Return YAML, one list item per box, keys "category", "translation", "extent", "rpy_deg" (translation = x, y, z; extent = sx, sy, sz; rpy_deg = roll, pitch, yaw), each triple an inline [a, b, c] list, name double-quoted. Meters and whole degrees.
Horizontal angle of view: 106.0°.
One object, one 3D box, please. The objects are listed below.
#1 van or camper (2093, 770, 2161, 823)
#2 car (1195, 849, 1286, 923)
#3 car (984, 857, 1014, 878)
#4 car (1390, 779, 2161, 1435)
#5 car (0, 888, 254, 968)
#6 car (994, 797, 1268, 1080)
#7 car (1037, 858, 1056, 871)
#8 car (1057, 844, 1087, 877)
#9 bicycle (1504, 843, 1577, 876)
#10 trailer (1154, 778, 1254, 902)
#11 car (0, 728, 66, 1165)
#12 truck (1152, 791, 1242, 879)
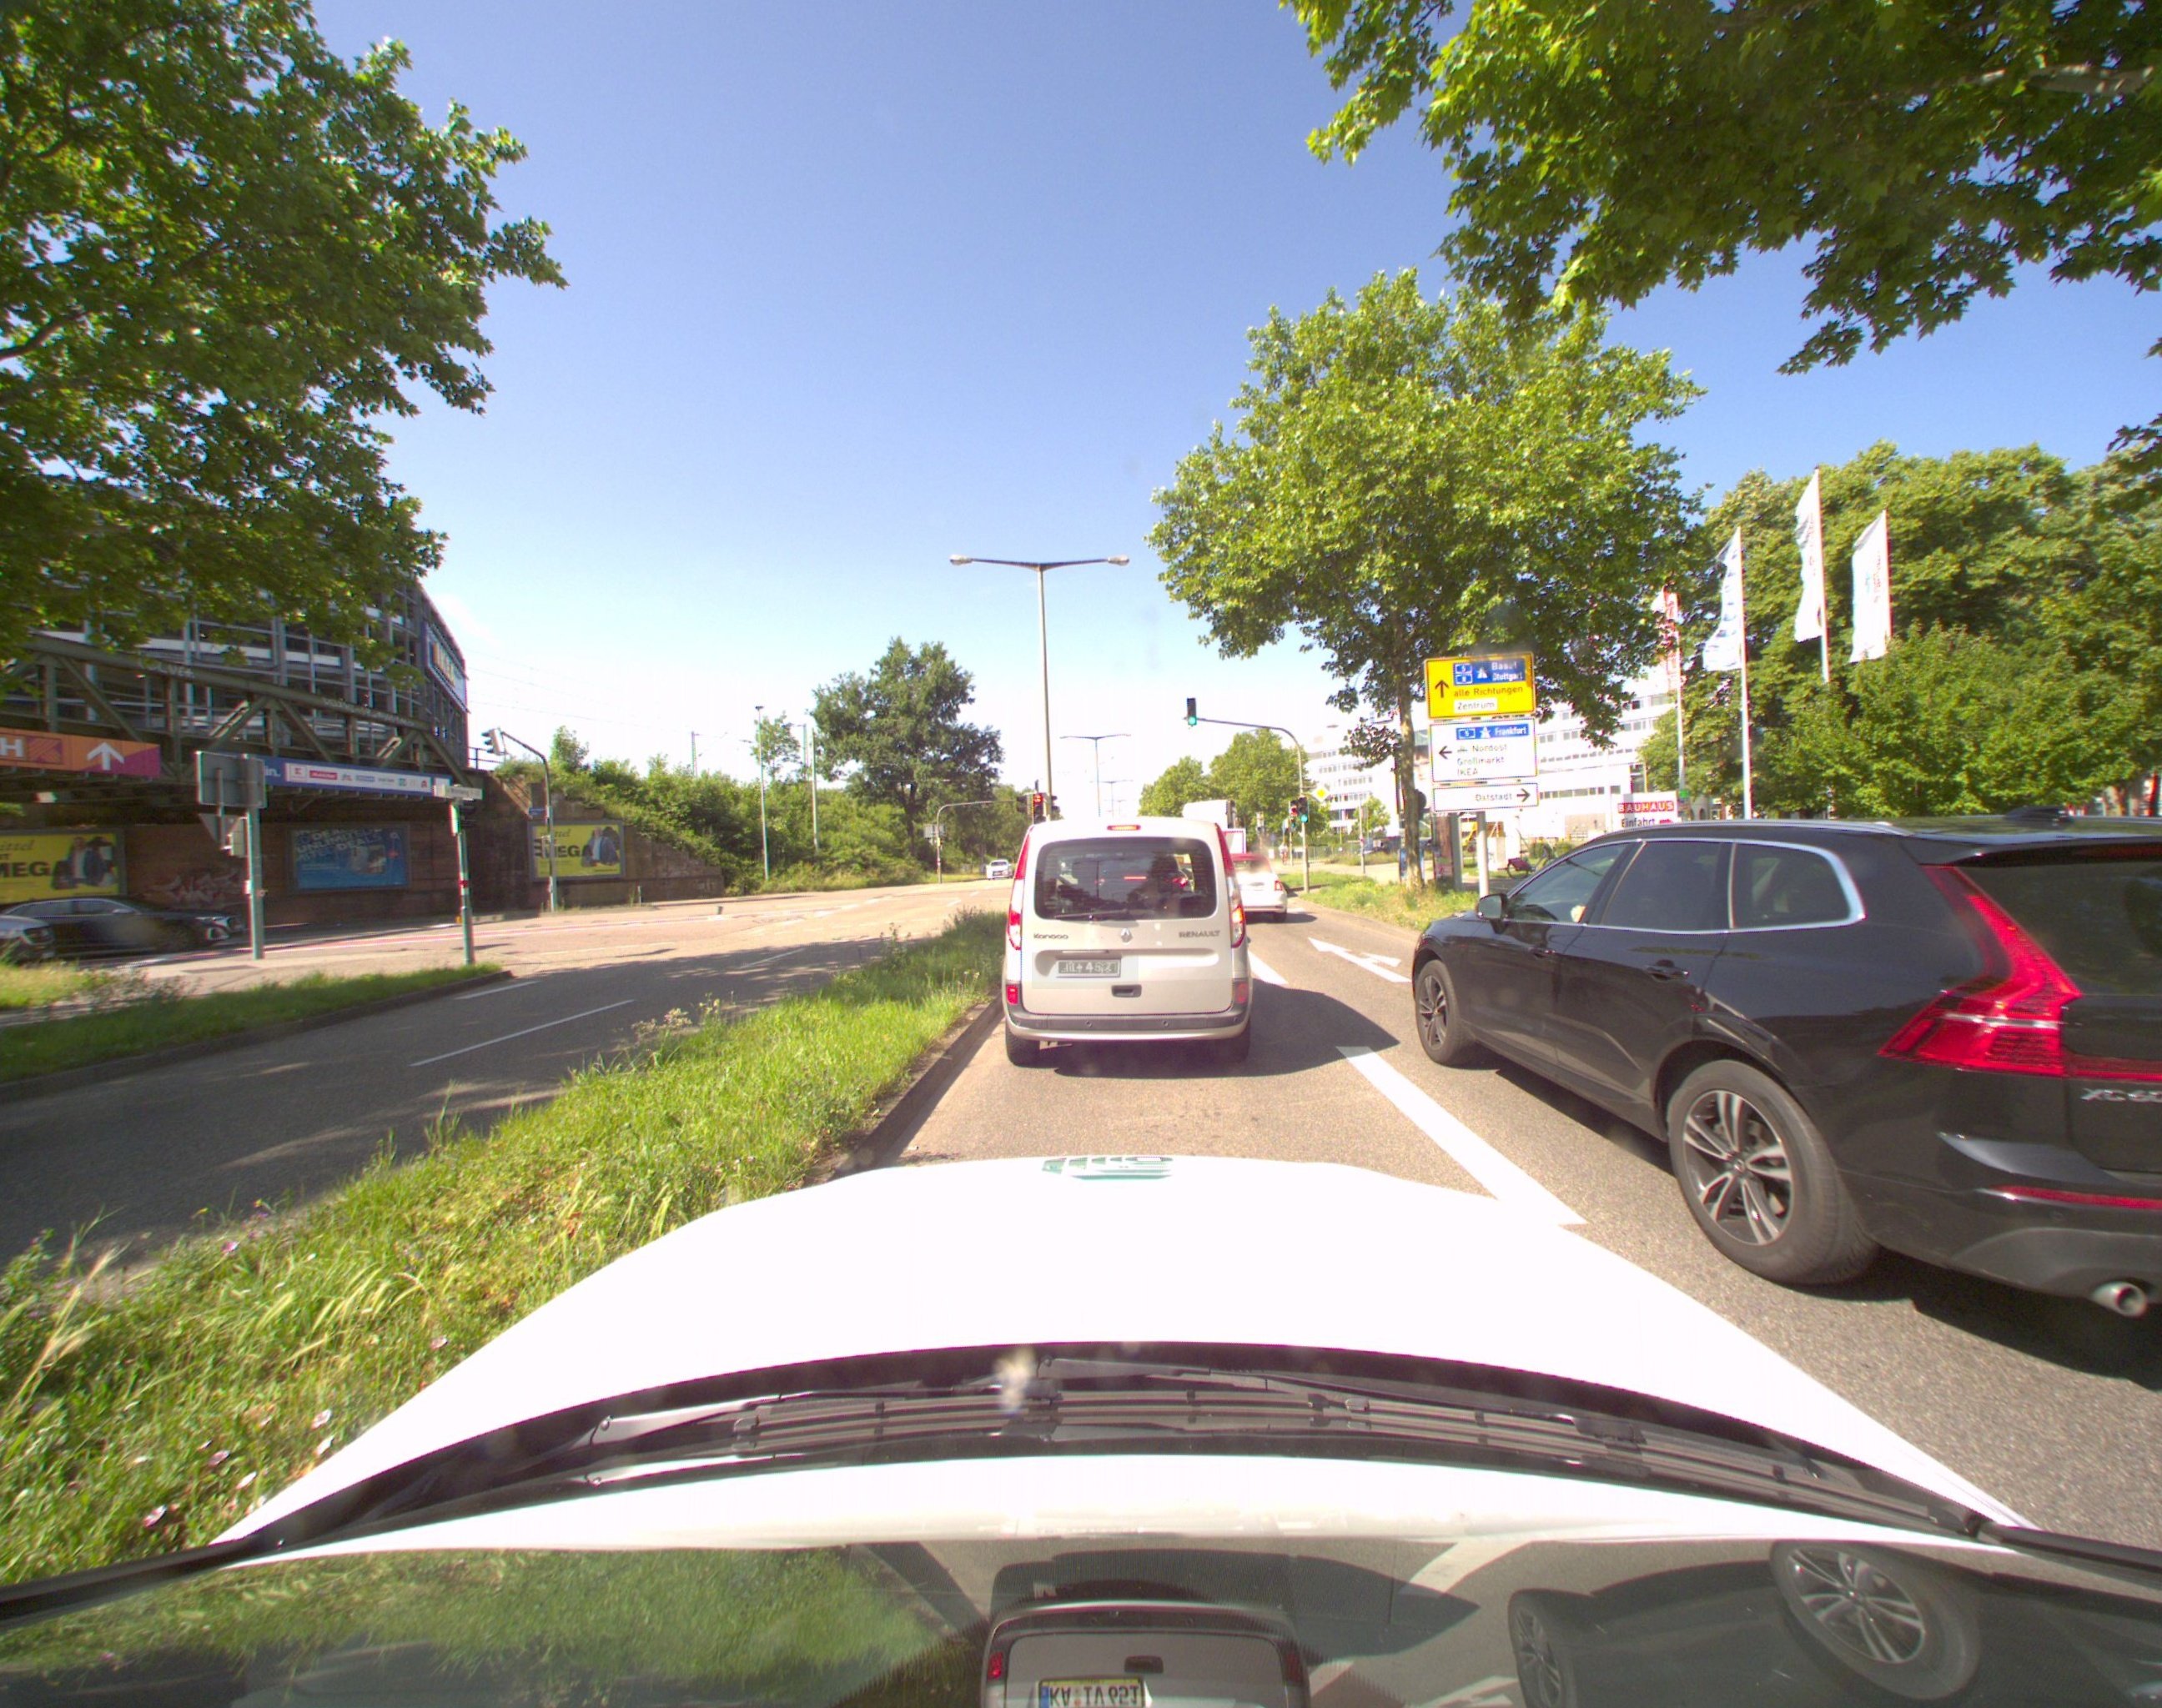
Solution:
- category: "van or camper"
  translation: [63.647, -3.405, 46.455]
  extent: [2.007, 2.942, 7.213]
  rpy_deg: [0, -1, -32]
- category: "car"
  translation: [3.531, 0.678, 18.528]
  extent: [1.532, 1.514, 3.261]
  rpy_deg: [0, -1, 2]
- category: "car"
  translation: [-6.254, 1.006, 62.526]
  extent: [1.693, 1.508, 4.002]
  rpy_deg: [-2, 0, 2]
- category: "car"
  translation: [3.310, 0.624, 4.192]
  extent: [1.868, 1.591, 4.435]
  rpy_deg: [0, 0, 2]
- category: "car"
  translation: [-25.765, 1.922, 22.243]
  extent: [4.015, 1.646, 1.885]
  rpy_deg: [-4, 1, -32]
- category: "car"
  translation: [0.387, 0.565, 7.317]
  extent: [1.779, 1.838, 4.001]
  rpy_deg: [0, -1, 2]
- category: "car"
  translation: [-4.421, 1.337, 104.422]
  extent: [1.902, 1.641, 3.742]
  rpy_deg: [-3, -1, 5]
- category: "car"
  translation: [-0.703, 0.557, 69.784]
  extent: [1.984, 2.607, 5.140]
  rpy_deg: [-3, -1, 5]
- category: "bicycle"
  translation: [15.117, 0.185, 26.833]
  extent: [1.985, 1.014, 0.624]
  rpy_deg: [-3, 0, 18]
- category: "trailer"
  translation: [4.312, -0.350, 30.272]
  extent: [2.885, 3.622, 12.707]
  rpy_deg: [0, 0, 6]
- category: "car"
  translation: [-7.685, 0.600, 2.372]
  extent: [1.986, 2.662, 5.789]
  rpy_deg: [-3, 0, 2]
- category: "truck"
  translation: [5.517, -0.773, 37.533]
  extent: [2.887, 3.643, 7.222]
  rpy_deg: [-1, -1, 18]
